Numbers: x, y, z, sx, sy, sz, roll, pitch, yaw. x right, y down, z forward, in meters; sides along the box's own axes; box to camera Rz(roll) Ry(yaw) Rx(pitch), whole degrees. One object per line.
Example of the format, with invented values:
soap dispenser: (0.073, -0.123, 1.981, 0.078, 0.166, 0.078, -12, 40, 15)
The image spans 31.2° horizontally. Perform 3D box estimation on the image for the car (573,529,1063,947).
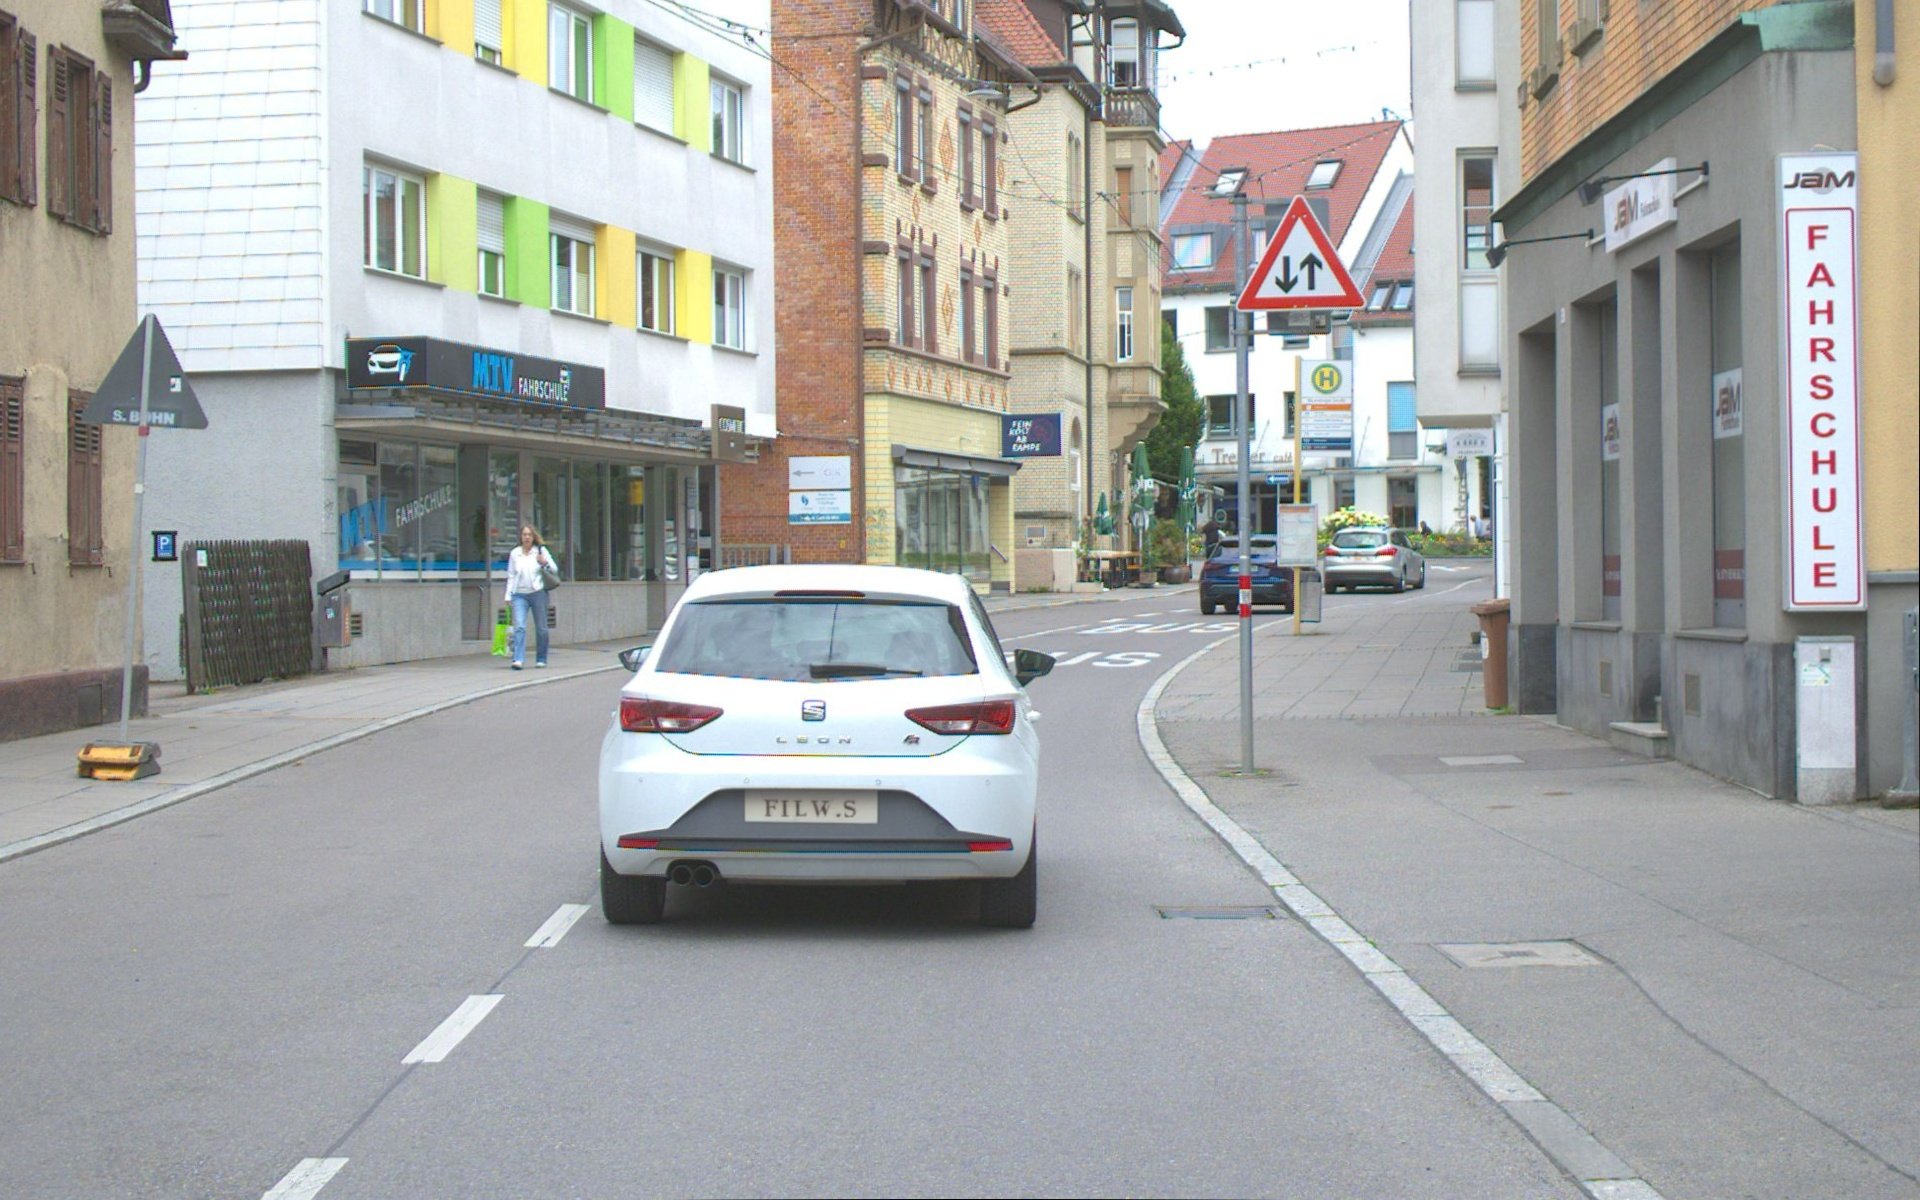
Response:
car: (-0.475, 0.473, 14.731, 1.811, 1.475, 3.871, 1, 2, 2)

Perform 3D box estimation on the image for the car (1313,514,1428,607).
car: (9.151, -0.894, 76.415, 1.995, 2.007, 3.997, 0, 1, 15)

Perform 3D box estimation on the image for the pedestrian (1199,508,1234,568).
pedestrian: (6.586, -1.594, 88.240, 0.834, 1.546, 0.627, 0, 1, 7)

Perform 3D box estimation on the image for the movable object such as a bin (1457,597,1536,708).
movable object such as a bin: (4.561, 0.445, 29.233, 0.619, 0.918, 0.581, -1, 1, 5)

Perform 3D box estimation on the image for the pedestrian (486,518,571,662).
pedestrian: (-5.067, -0.125, 40.429, 0.892, 1.659, 0.861, -1, 1, -2)

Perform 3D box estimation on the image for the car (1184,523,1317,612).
car: (5.266, -0.604, 61.957, 1.812, 1.475, 3.868, 0, 2, 14)
